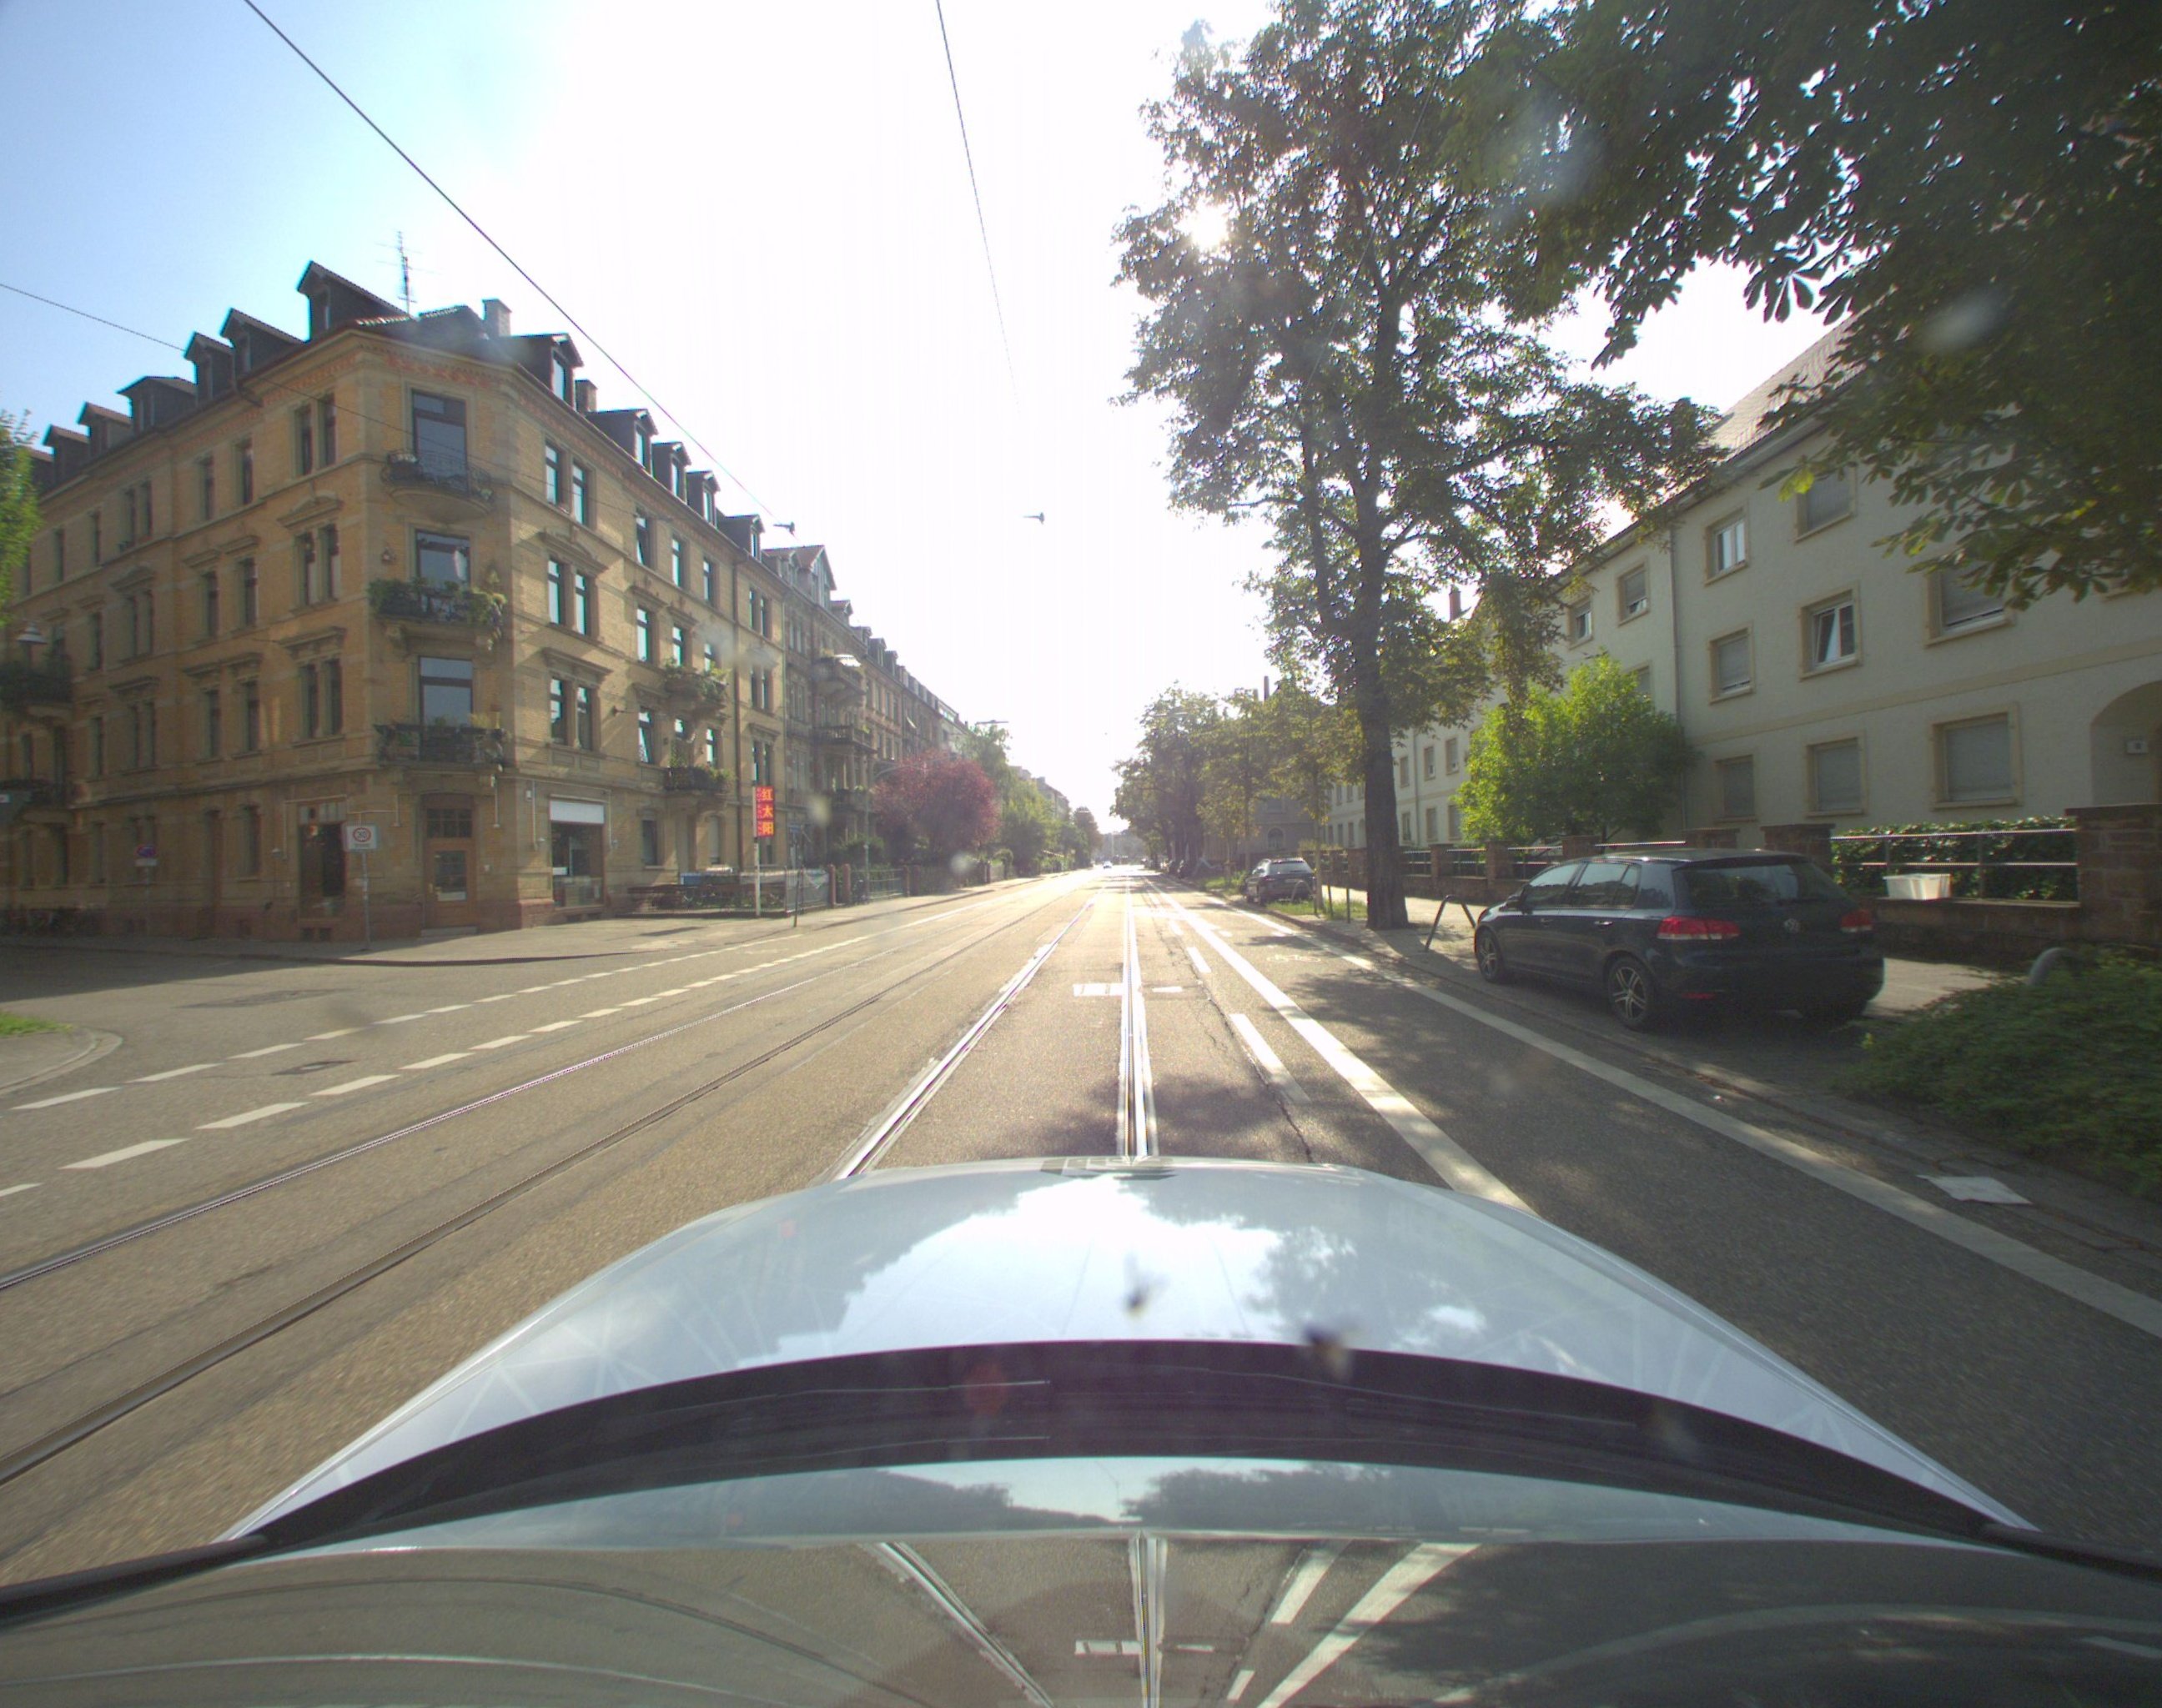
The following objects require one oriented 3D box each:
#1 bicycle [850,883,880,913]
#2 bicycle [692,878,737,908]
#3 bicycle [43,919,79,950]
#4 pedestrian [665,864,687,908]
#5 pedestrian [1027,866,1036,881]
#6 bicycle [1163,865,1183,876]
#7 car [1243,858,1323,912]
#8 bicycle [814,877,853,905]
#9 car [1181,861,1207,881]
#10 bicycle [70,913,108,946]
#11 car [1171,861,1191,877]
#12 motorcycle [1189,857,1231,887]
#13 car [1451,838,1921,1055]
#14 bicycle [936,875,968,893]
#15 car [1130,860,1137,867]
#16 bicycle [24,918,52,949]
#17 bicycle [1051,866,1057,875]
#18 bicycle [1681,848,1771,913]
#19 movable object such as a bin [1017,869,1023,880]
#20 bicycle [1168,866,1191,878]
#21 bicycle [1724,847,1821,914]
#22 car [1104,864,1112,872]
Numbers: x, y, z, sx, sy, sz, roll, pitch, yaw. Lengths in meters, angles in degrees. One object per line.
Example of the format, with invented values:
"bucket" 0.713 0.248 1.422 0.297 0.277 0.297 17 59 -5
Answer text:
"bicycle" -8.716 1.769 32.922 0.506 1.108 2.005 -2 -1 4
"bicycle" -13.819 1.480 30.715 1.478 1.060 0.417 -2 -1 0
"bicycle" -36.080 2.854 28.799 1.345 1.060 0.419 -2 -1 22
"pedestrian" -15.746 1.241 31.676 0.549 1.667 0.579 -2 -1 -8
"pedestrian" -5.240 2.069 86.547 0.749 1.591 0.879 -2 -1 4
"bicycle" 10.471 1.854 92.572 2.098 1.105 0.616 -3 -1 2
"car" 6.537 0.965 26.844 1.736 1.561 4.724 -2 -1 4
"bicycle" -9.647 1.434 31.760 1.353 1.060 0.417 0 -1 0
"car" 8.999 1.345 65.097 1.719 1.504 3.988 -3 -1 3
"bicycle" -33.475 2.548 27.483 1.345 1.060 0.419 -2 -1 22
"car" 10.073 1.526 82.103 1.764 1.473 3.977 -2 -2 4
"motorcycle" 7.781 1.114 49.296 0.919 1.674 2.390 -3 -1 -42
"car" 5.400 0.719 8.085 1.683 1.502 4.099 -4 -1 3
"bicycle" -8.717 2.021 54.958 2.009 1.104 0.588 -2 -1 0
"car" 16.599 2.984 258.352 1.983 2.014 4.007 0 -1 7
"bicycle" -37.571 2.855 29.340 1.344 1.060 0.419 -2 -1 30
"bicycle" -3.827 2.363 113.919 0.558 1.221 2.116 -2 -1 5
"bicycle" 11.110 0.440 14.076 0.414 1.060 1.489 -2 -1 4
"movable object such as a bin" -6.552 2.195 87.258 0.588 1.078 0.704 -2 -1 -3
"bicycle" 9.475 1.763 78.419 2.102 1.105 0.562 -2 -1 -4
"bicycle" 11.744 0.437 13.883 0.414 1.060 1.489 -2 -1 4
"car" 5.908 3.055 179.434 1.719 1.638 3.988 -2 -1 3
